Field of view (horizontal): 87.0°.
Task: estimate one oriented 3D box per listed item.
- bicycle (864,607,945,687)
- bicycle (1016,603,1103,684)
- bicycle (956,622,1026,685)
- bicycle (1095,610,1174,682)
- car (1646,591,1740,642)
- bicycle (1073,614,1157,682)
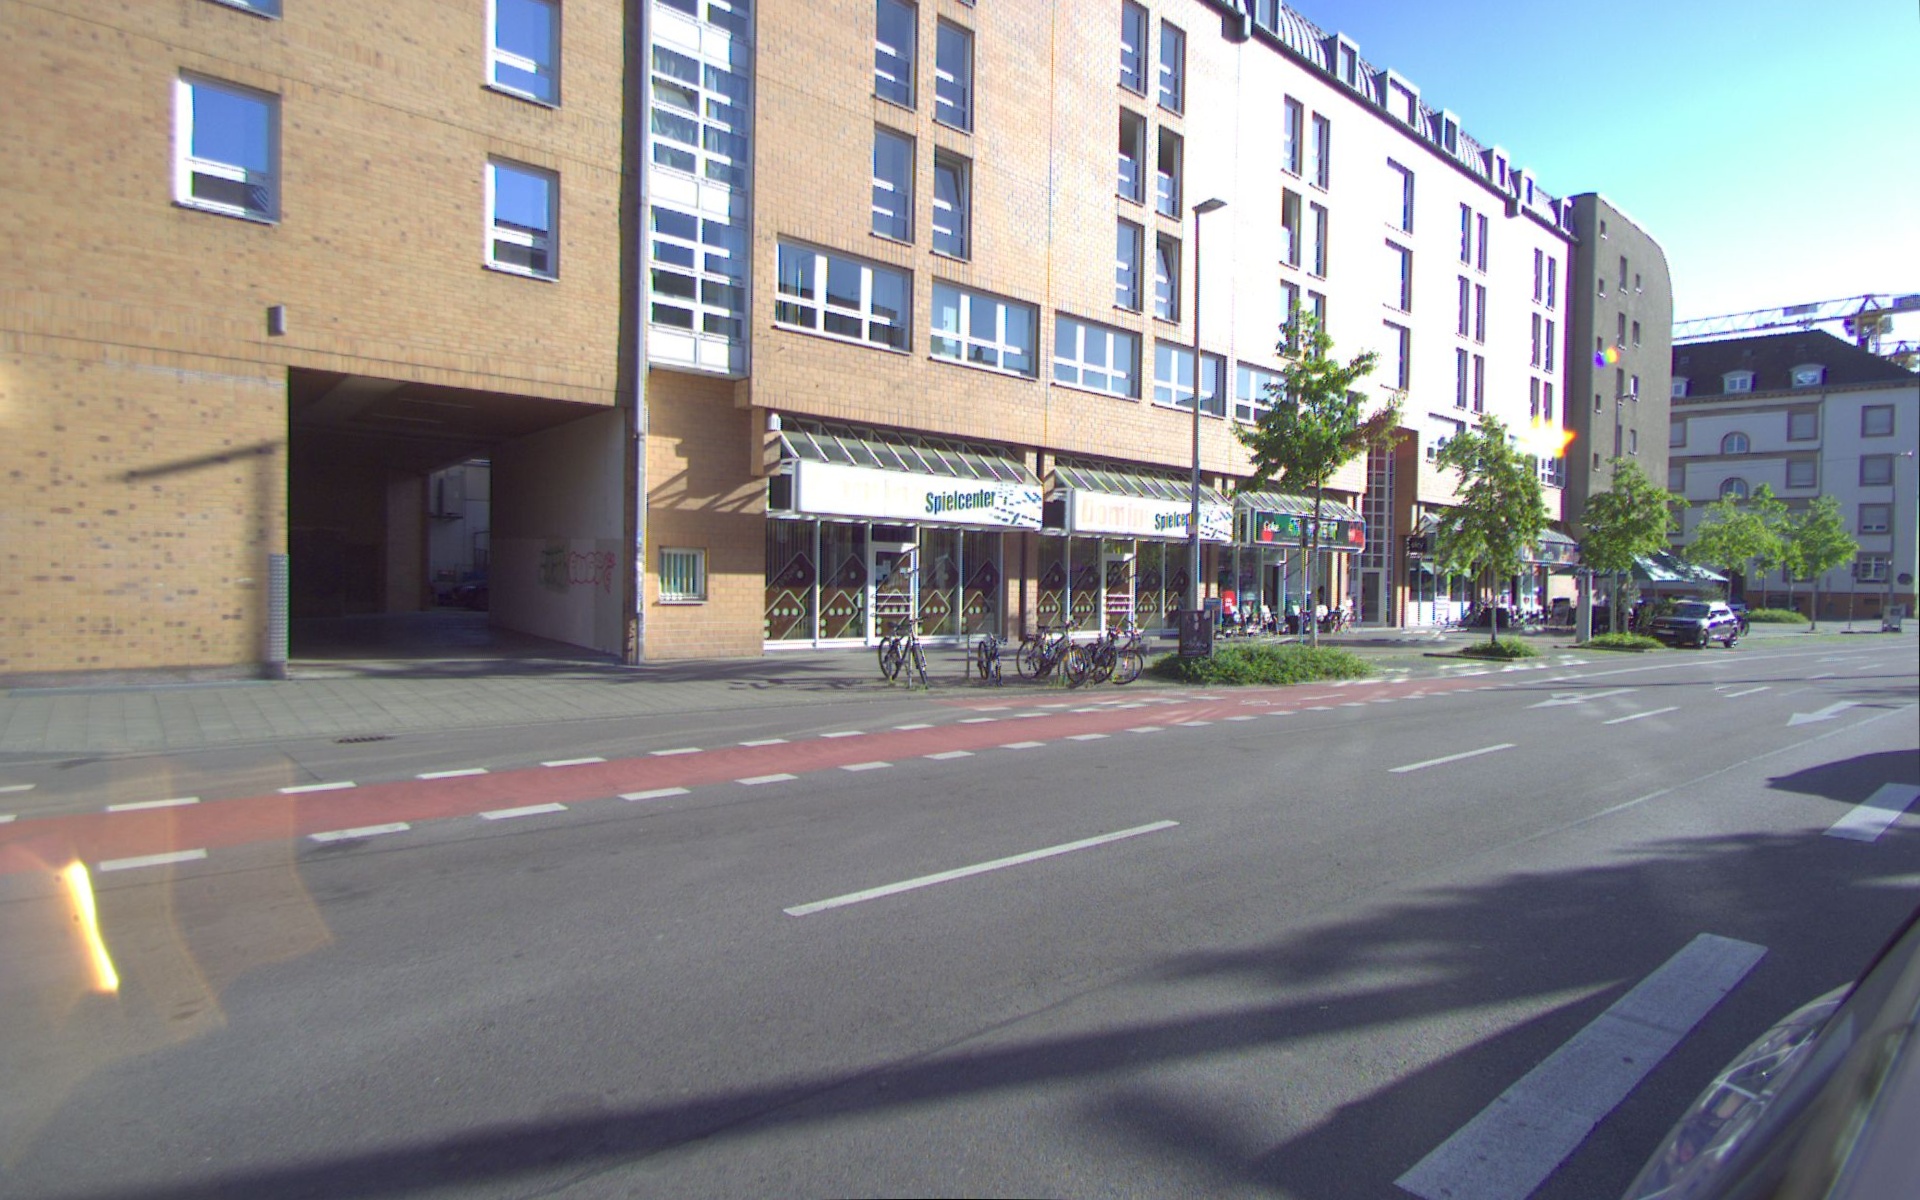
[{"bbox_3d":[-0.921,0.722,16.257,0.423,1.089,1.776,-1,4,-35],"label":"bicycle"},{"bbox_3d":[1.660,0.693,17.139,0.553,1.177,1.843,0,3,-26],"label":"bicycle"},{"bbox_3d":[0.489,0.856,16.810,0.359,0.842,1.779,0,3,-26],"label":"bicycle"},{"bbox_3d":[3.051,0.784,17.857,0.343,1.069,1.843,0,3,-26],"label":"bicycle"},{"bbox_3d":[25.701,0.538,35.423,3.929,1.660,1.778,0,1,-41],"label":"car"},{"bbox_3d":[2.673,0.806,17.643,0.440,0.997,1.843,0,3,-26],"label":"bicycle"}]
